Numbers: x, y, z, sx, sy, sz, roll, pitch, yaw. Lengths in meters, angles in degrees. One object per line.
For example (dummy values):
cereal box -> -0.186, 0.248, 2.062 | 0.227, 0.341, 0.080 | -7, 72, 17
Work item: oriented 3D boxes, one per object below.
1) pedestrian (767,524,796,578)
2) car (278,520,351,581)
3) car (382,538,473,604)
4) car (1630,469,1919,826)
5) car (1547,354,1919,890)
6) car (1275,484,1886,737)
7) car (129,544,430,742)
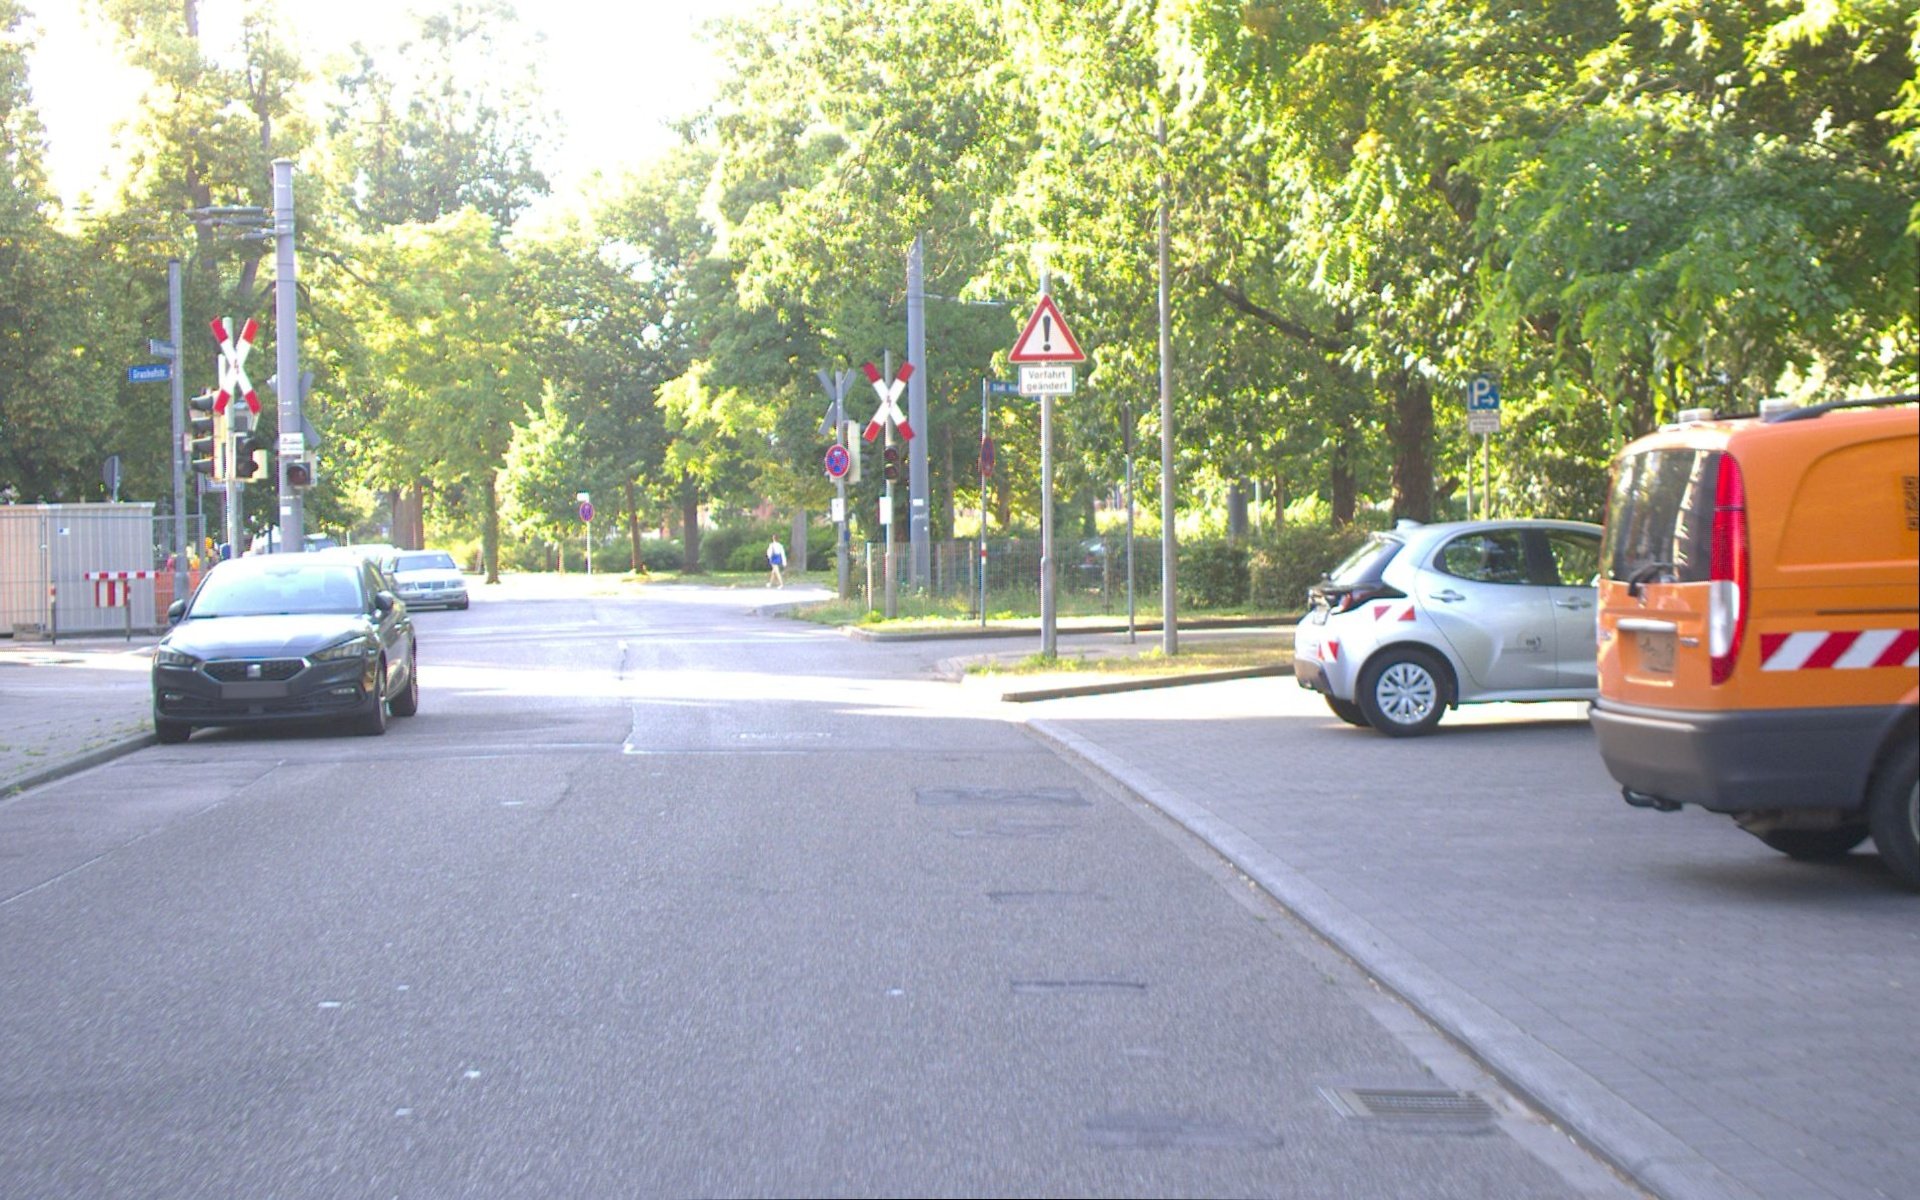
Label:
pedestrian -> -5.302, -1.453, 102.063 | 0.773, 1.569, 0.768 | -1, 1, -7
car -> -21.471, -1.660, 114.230 | 1.850, 1.939, 4.842 | -1, 1, -17
car -> -12.659, -0.702, 81.540 | 1.779, 1.411, 4.499 | -3, 2, -12
car -> 5.236, 0.140, 17.046 | 3.396, 1.626, 1.680 | -3, 1, -1
car -> 5.110, -0.047, 14.299 | 4.794, 1.991, 2.081 | -3, 1, -5
car -> 4.396, 0.052, 24.759 | 3.987, 1.541, 1.735 | -3, 1, -1
car -> -5.476, 0.290, 28.139 | 1.743, 1.443, 4.209 | -1, 1, -2
